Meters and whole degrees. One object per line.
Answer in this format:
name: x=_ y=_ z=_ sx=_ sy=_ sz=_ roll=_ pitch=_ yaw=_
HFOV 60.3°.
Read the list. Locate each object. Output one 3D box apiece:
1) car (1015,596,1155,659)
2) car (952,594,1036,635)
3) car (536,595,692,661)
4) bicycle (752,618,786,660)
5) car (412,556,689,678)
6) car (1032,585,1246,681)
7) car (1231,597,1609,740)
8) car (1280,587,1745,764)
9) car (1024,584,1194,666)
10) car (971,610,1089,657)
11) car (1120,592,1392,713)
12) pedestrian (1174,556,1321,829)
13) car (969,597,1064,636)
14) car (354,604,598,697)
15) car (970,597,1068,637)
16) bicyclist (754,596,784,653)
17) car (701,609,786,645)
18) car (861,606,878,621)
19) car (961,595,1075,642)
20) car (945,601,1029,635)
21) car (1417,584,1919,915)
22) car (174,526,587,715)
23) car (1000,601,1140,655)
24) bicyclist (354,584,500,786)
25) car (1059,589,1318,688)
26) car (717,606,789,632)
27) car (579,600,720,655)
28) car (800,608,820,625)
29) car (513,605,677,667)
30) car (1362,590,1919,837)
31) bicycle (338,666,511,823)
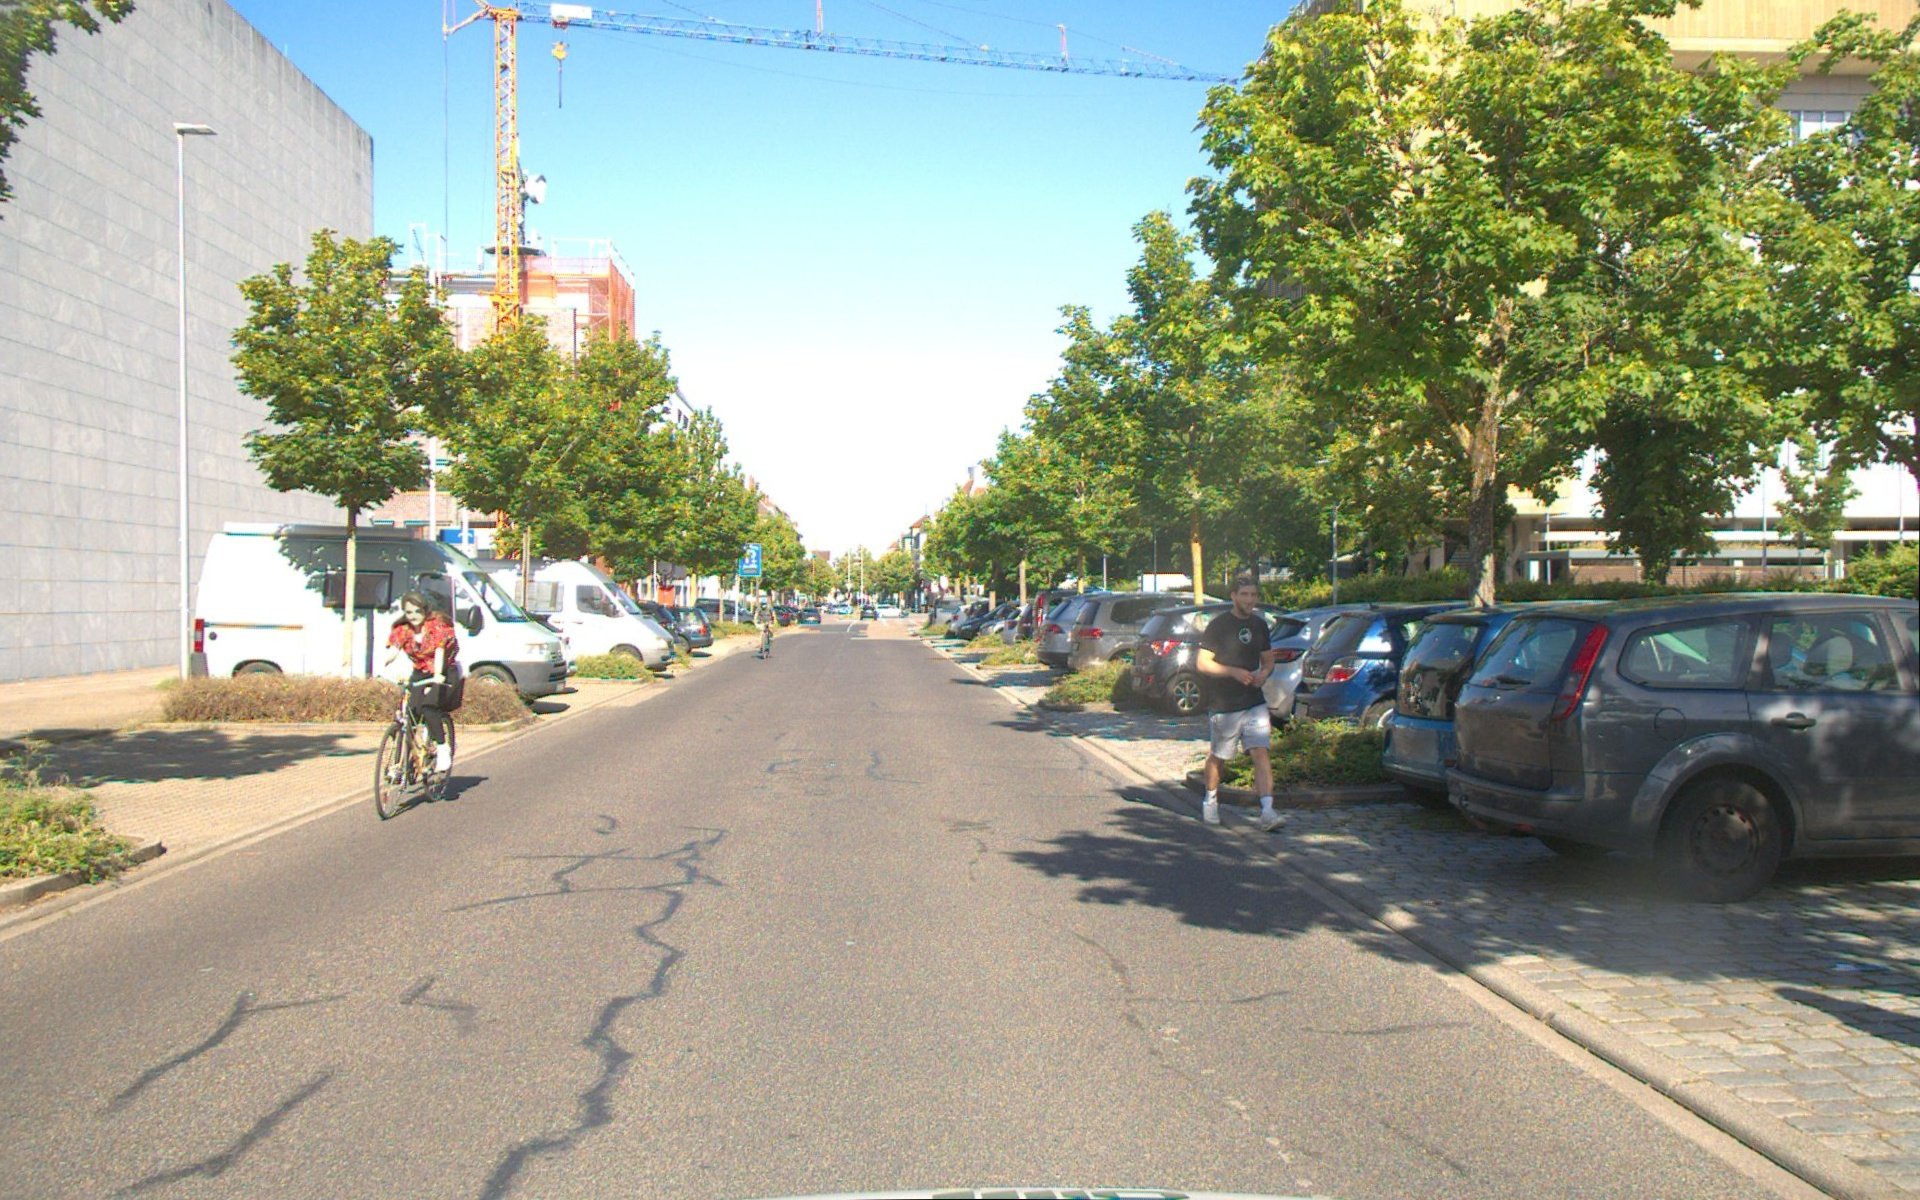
car: x=3.333 y=0.718 z=44.565 sx=3.536 sy=1.576 sz=1.705 roll=-1 pitch=1 yaw=-5
car: x=1.630 y=0.689 z=79.388 sx=3.907 sy=1.912 sz=1.681 roll=-1 pitch=0 yaw=-3
car: x=-9.555 y=0.766 z=45.886 sx=3.905 sy=1.693 sz=1.828 roll=1 pitch=0 yaw=-1
bicycle: x=-5.516 y=1.117 z=47.834 sx=0.684 sy=1.130 sz=2.079 roll=-2 pitch=0 yaw=1
car: x=-8.756 y=0.362 z=35.752 sx=5.439 sy=2.452 sz=1.987 roll=1 pitch=0 yaw=-2
car: x=3.432 y=0.610 z=32.140 sx=3.823 sy=1.725 sz=1.938 roll=-1 pitch=1 yaw=-5
car: x=5.023 y=0.718 z=18.404 sx=3.657 sy=1.441 sz=1.841 roll=-1 pitch=0 yaw=-2
car: x=5.176 y=0.679 z=15.847 sx=3.816 sy=1.524 sz=1.841 roll=-1 pitch=0 yaw=-2
car: x=3.752 y=0.603 z=42.091 sx=4.038 sy=1.961 sz=1.977 roll=-1 pitch=1 yaw=-5
car: x=2.358 y=1.123 z=56.182 sx=3.824 sy=1.512 sz=1.741 roll=-1 pitch=0 yaw=-4
car: x=4.088 y=0.717 z=23.173 sx=3.386 sy=1.515 sz=1.745 roll=-2 pitch=-1 yaw=-5
pedestrian: x=2.007 y=0.622 z=11.692 sx=0.705 sy=1.802 sz=1.167 roll=-2 pitch=-1 yaw=-4
car: x=2.397 y=0.717 z=70.827 sx=3.907 sy=1.610 sz=2.030 roll=-1 pitch=-1 yaw=-3
car: x=-8.482 y=0.862 z=29.232 sx=3.753 sy=1.498 sz=1.848 roll=1 pitch=0 yaw=-2
car: x=2.407 y=0.695 z=68.166 sx=3.907 sy=1.565 sz=1.860 roll=-1 pitch=-1 yaw=-3
bicyclist: x=-5.527 y=0.704 z=47.890 sx=0.669 sy=1.608 sz=1.061 roll=-2 pitch=0 yaw=1
car: x=-11.041 y=1.368 z=84.612 sx=4.178 sy=1.694 sz=1.598 roll=-1 pitch=1 yaw=-4
car: x=-9.753 y=1.464 z=179.140 sx=1.775 sy=1.500 sz=4.109 roll=-1 pitch=1 yaw=-2
car: x=2.122 y=0.671 z=61.232 sx=4.063 sy=1.607 sz=1.739 roll=-1 pitch=0 yaw=-5
car: x=1.190 y=0.829 z=75.317 sx=3.691 sy=1.485 sz=1.816 roll=-1 pitch=-1 yaw=-4
car: x=4.815 y=0.700 z=9.054 sx=4.104 sy=1.546 sz=1.735 roll=-1 pitch=0 yaw=-5
car: x=-8.225 y=0.293 z=23.901 sx=5.143 sy=2.461 sz=2.122 roll=2 pitch=0 yaw=-3
car: x=3.236 y=0.830 z=49.160 sx=3.980 sy=1.450 sz=1.741 roll=-2 pitch=-1 yaw=-2
bicyclist: x=-4.092 y=0.628 z=12.779 sx=0.742 sy=1.456 sz=1.131 roll=-2 pitch=0 yaw=-2
car: x=4.054 y=0.666 z=29.728 sx=4.238 sy=1.636 sz=1.909 roll=-1 pitch=0 yaw=-7
car: x=-12.431 y=1.137 z=99.508 sx=4.248 sy=1.500 sz=1.815 roll=-1 pitch=1 yaw=-7
car: x=-9.389 y=0.831 z=50.282 sx=4.051 sy=1.518 sz=1.867 roll=1 pitch=1 yaw=-7
car: x=-13.769 y=1.500 z=152.206 sx=1.776 sy=1.500 sz=4.107 roll=-1 pitch=1 yaw=-4
car: x=-9.523 y=0.930 z=43.396 sx=3.907 sy=1.544 sz=1.854 roll=-1 pitch=0 yaw=-3
car: x=4.909 y=0.715 z=11.456 sx=3.823 sy=1.493 sz=1.620 roll=-1 pitch=1 yaw=-5
bicycle: x=-4.079 y=1.067 z=12.755 sx=0.742 sy=1.020 sz=1.871 roll=-2 pitch=0 yaw=-2
